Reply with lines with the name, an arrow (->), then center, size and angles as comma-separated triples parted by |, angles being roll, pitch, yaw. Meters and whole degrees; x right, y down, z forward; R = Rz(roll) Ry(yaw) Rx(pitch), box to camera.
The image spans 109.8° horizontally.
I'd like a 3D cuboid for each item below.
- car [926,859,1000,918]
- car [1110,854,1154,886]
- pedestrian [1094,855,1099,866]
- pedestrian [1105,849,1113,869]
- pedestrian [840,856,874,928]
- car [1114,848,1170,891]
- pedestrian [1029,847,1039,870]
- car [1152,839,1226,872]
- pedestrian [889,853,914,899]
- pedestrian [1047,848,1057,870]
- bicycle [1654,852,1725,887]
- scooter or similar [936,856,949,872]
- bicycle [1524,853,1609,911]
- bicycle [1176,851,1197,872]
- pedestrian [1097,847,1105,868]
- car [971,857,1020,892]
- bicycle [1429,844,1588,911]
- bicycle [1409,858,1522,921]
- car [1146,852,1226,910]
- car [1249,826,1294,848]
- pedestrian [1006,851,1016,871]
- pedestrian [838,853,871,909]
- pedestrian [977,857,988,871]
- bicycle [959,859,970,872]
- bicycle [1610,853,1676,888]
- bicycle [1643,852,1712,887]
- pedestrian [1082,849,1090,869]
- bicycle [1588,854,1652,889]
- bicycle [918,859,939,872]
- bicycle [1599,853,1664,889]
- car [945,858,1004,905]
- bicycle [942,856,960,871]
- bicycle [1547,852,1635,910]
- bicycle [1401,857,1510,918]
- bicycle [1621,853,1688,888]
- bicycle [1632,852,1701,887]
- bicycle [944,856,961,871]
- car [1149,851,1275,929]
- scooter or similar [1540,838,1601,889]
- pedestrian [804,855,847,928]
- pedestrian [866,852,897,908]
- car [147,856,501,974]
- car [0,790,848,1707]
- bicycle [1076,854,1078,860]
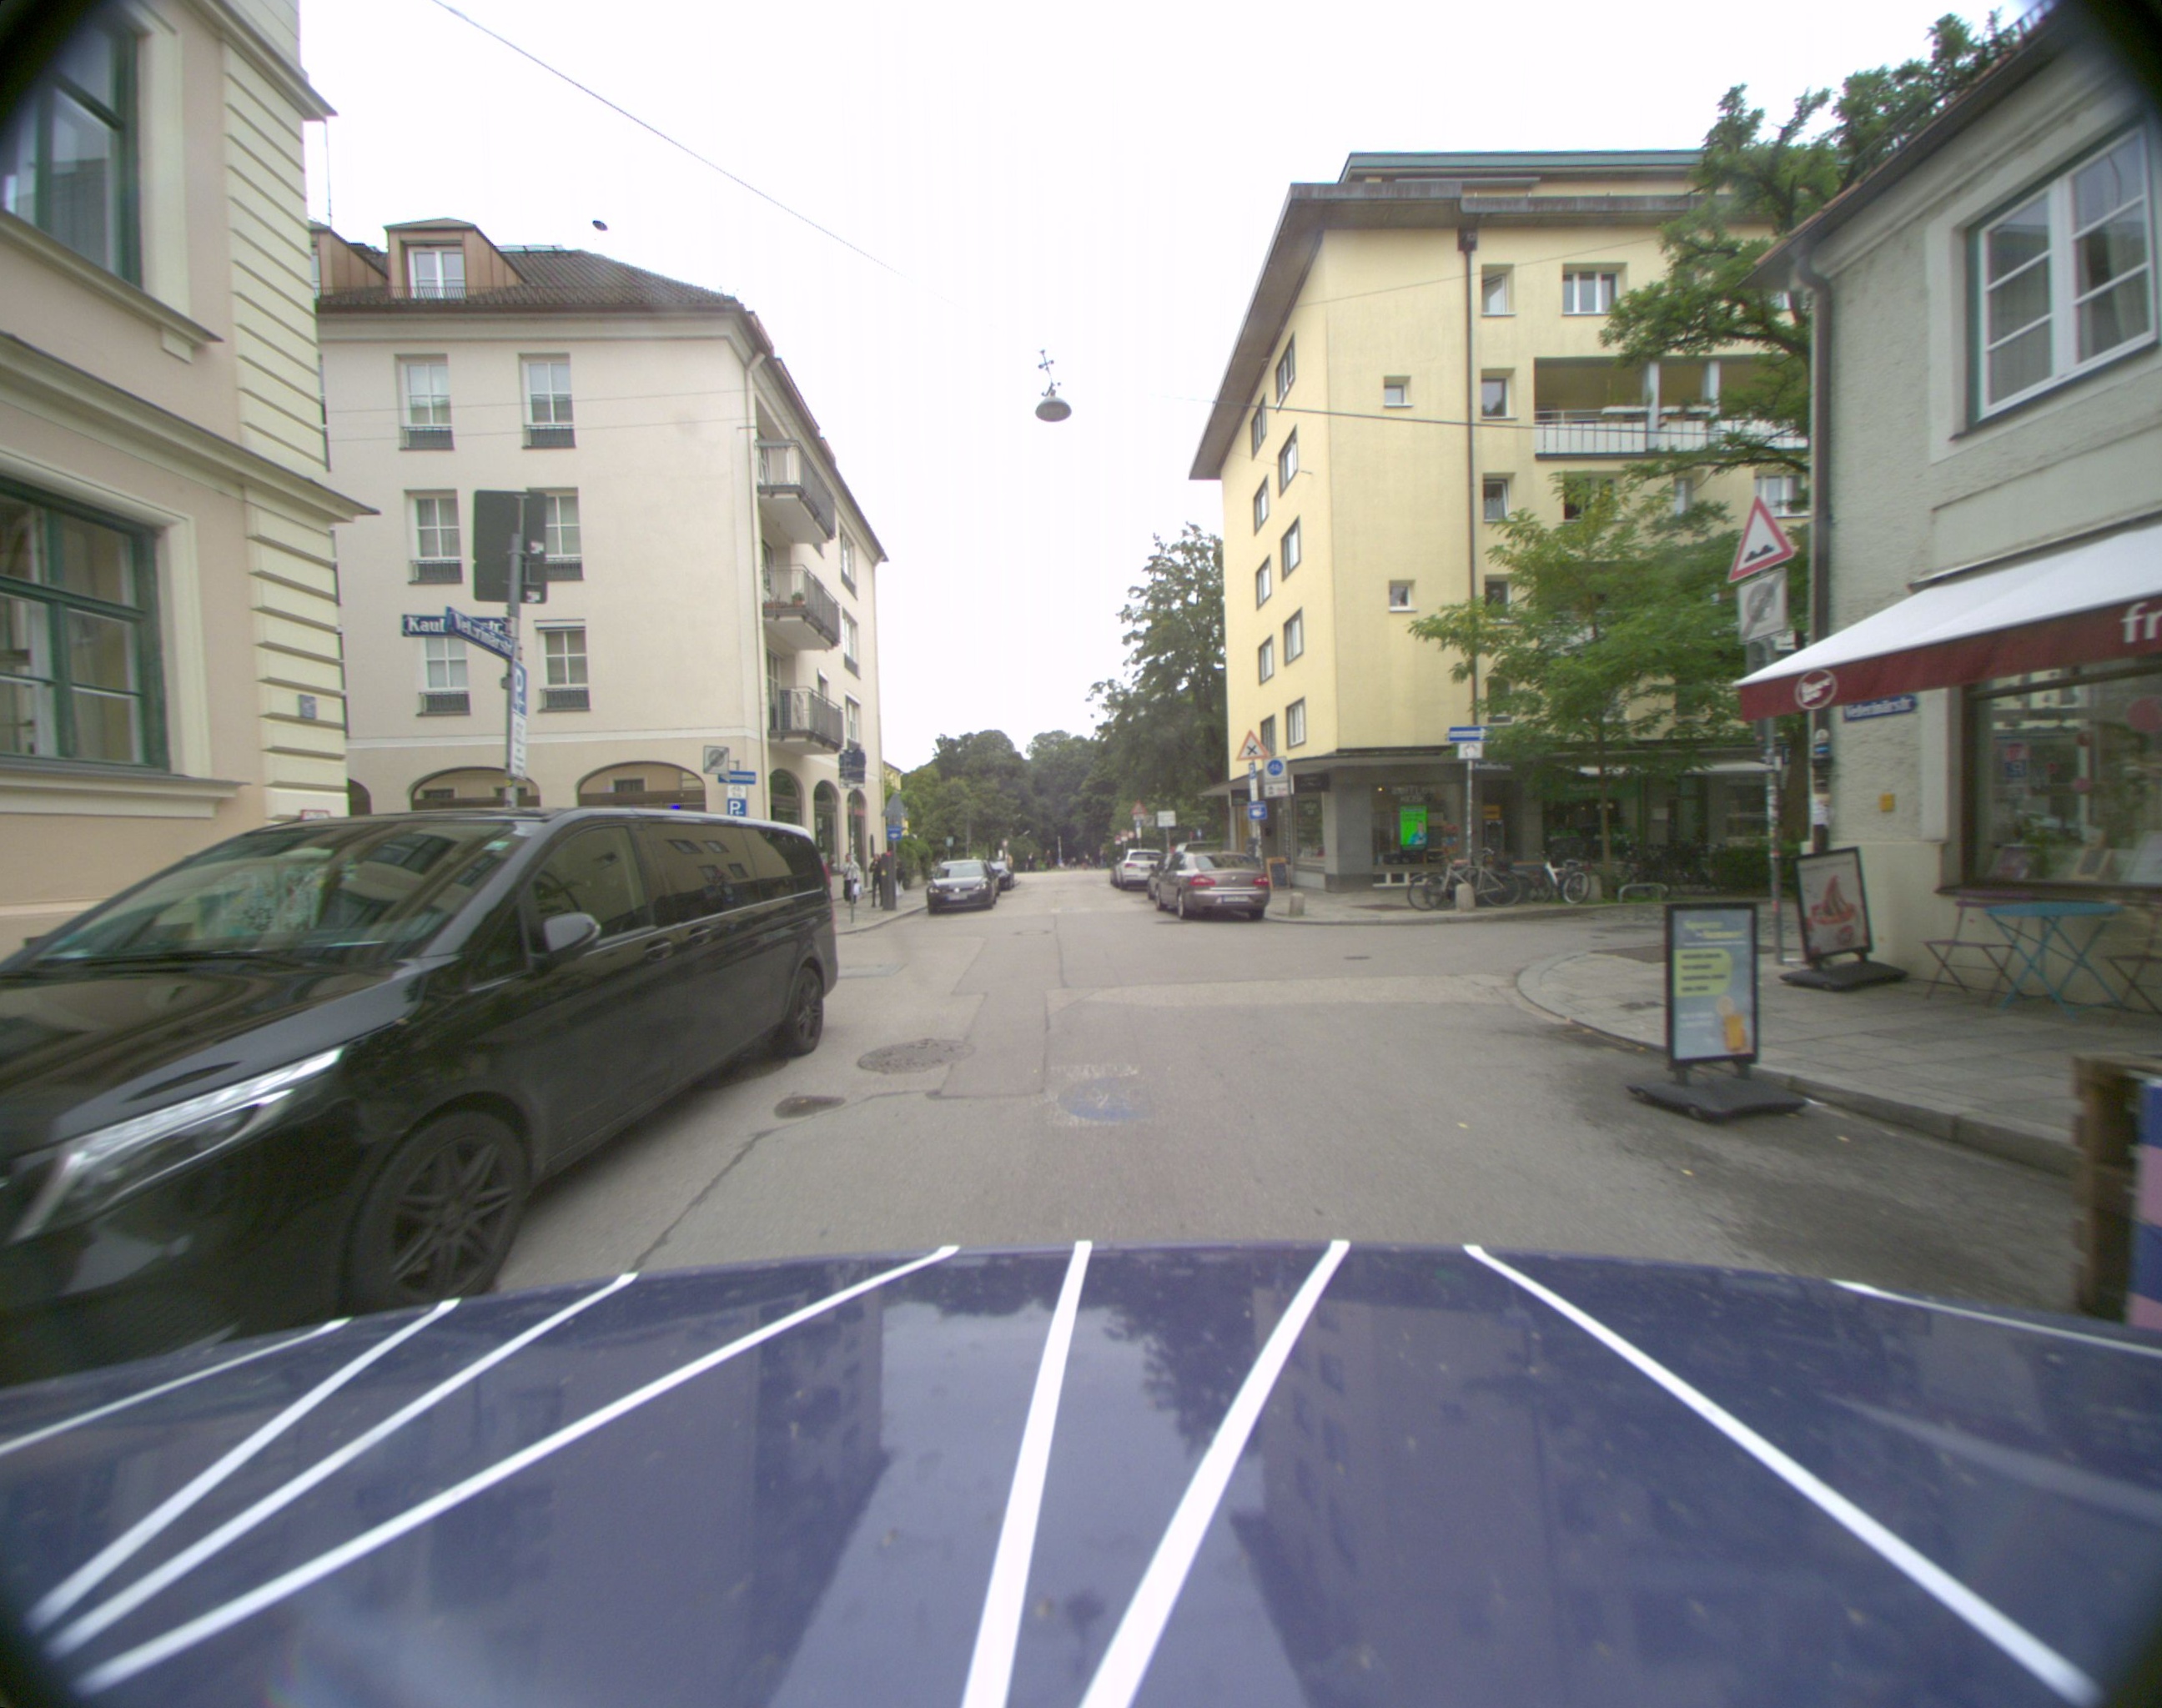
car -> -3.354, 0.926, 22.268 | 1.680, 1.417, 4.202 | -4, 0, -4
car -> 2.372, 0.709, 36.126 | 1.750, 1.402, 4.097 | 0, 0, -1
pedestrian -> 2.663, 1.089, 127.575 | 0.686, 1.662, 0.774 | -3, -2, -1
pedestrian -> 2.545, 0.485, 69.403 | 0.634, 1.771, 0.801 | -1, -1, -1
pedestrian -> -5.280, 0.873, 17.951 | 0.473, 1.616, 1.069 | -2, 2, -2
car -> 2.396, 0.606, 30.638 | 1.807, 1.574, 4.337 | 0, -1, -1
pedestrian -> -3.549, 0.315, 57.428 | 0.686, 1.662, 0.774 | -3, -2, -1
car -> 7.183, 0.091, 50.440 | 4.423, 1.990, 1.933 | -2, 2, -16
pedestrian -> -6.609, 0.808, 27.993 | 0.707, 1.613, 0.880 | -2, 3, -3
pedestrian -> -2.183, 0.398, 57.760 | 0.639, 1.662, 0.774 | -3, -2, -1
bicycle -> 15.248, 0.365, 19.090 | 0.293, 0.776, 1.721 | -2, 2, -3
scooter or similar -> -10.818, 0.788, 59.282 | 1.114, 1.205, 0.324 | -1, 0, 36
bicycle -> 9.165, 0.503, 14.419 | 0.381, 0.960, 1.715 | -4, 2, -5
bicycle -> 6.097, 0.410, 43.883 | 0.582, 1.120, 2.301 | -3, 1, 23
pedestrian -> 1.817, 0.365, 69.431 | 0.708, 1.892, 0.804 | -1, -1, -1
car -> -3.892, 0.882, 35.369 | 1.807, 1.402, 4.655 | -3, 0, -1
bicycle -> 9.026, 0.486, 16.116 | 2.849, 1.205, 0.817 | -3, 2, 1
bicycle -> 7.084, 0.642, 14.022 | 1.822, 1.029, 0.392 | -4, 0, 1
car -> 2.911, 0.696, 21.823 | 1.683, 1.463, 4.096 | -1, 1, -1
car -> 19.288, -1.709, 76.944 | 3.958, 2.093, 1.908 | -2, 2, 29
pedestrian -> -5.925, 0.588, 64.128 | 0.653, 1.676, 0.975 | -3, -2, -1
pedestrian -> -6.917, 0.808, 23.264 | 0.707, 1.652, 0.880 | -2, 3, -3
pedestrian -> -8.732, 0.871, 67.542 | 0.888, 1.227, 0.550 | -3, -2, -12
bicycle -> -9.684, 0.954, 63.022 | 0.307, 1.032, 1.656 | 0, -1, 13
bicycle -> 14.042, 0.399, 19.025 | 0.293, 0.776, 1.721 | -2, 2, -3
bicycle -> 14.946, 0.373, 19.079 | 0.293, 0.776, 1.721 | -2, 2, -3
pedestrian -> 0.472, 0.507, 70.331 | 0.751, 1.822, 1.115 | -1, -1, -1
bicycle -> 13.438, 0.416, 18.988 | 0.293, 0.776, 1.721 | -2, 2, -3
bicycle -> -12.047, 0.915, 60.017 | 1.656, 0.987, 0.248 | 1, -1, -25
bicycle -> 13.737, 0.407, 19.001 | 0.293, 0.776, 1.721 | -2, 2, -3
car -> -3.835, 0.949, 27.982 | 1.650, 1.417, 4.508 | -4, 0, -3
bicycle -> -10.493, 0.757, 61.272 | 0.202, 1.184, 1.658 | -1, -1, 40
bicycle -> 9.659, 0.487, 14.460 | 0.381, 0.960, 1.715 | -4, 2, -5
bicycle -> 7.092, 0.627, 14.425 | 1.822, 1.029, 0.392 | -4, 0, 1
bicycle -> 14.344, 0.390, 19.044 | 0.293, 0.776, 1.721 | -2, 2, -3
bicycle -> 14.649, 0.381, 19.063 | 0.293, 0.776, 1.721 | -2, 2, -3
bicycle -> -10.350, 0.744, 61.135 | 0.169, 1.191, 1.658 | -1, -1, 40
car -> 2.765, 0.694, 17.198 | 1.684, 1.463, 4.948 | -1, 1, -4
scooter or similar -> 12.275, 0.227, 19.059 | 1.205, 1.194, 0.996 | -4, 3, -42
pedestrian -> -6.016, 0.863, 17.926 | 0.660, 1.611, 0.979 | -2, 3, -2
pedestrian -> -6.125, 0.790, 23.368 | 0.707, 1.652, 0.880 | -2, 3, -3
car -> -13.782, 1.079, 14.092 | 4.452, 1.905, 1.975 | -2, -2, -3
car -> -3.108, 0.811, 4.081 | 2.002, 1.854, 5.252 | -2, 1, 0
bicycle -> -0.753, 0.598, 141.727 | 0.483, 1.035, 1.946 | 0, 0, 1
